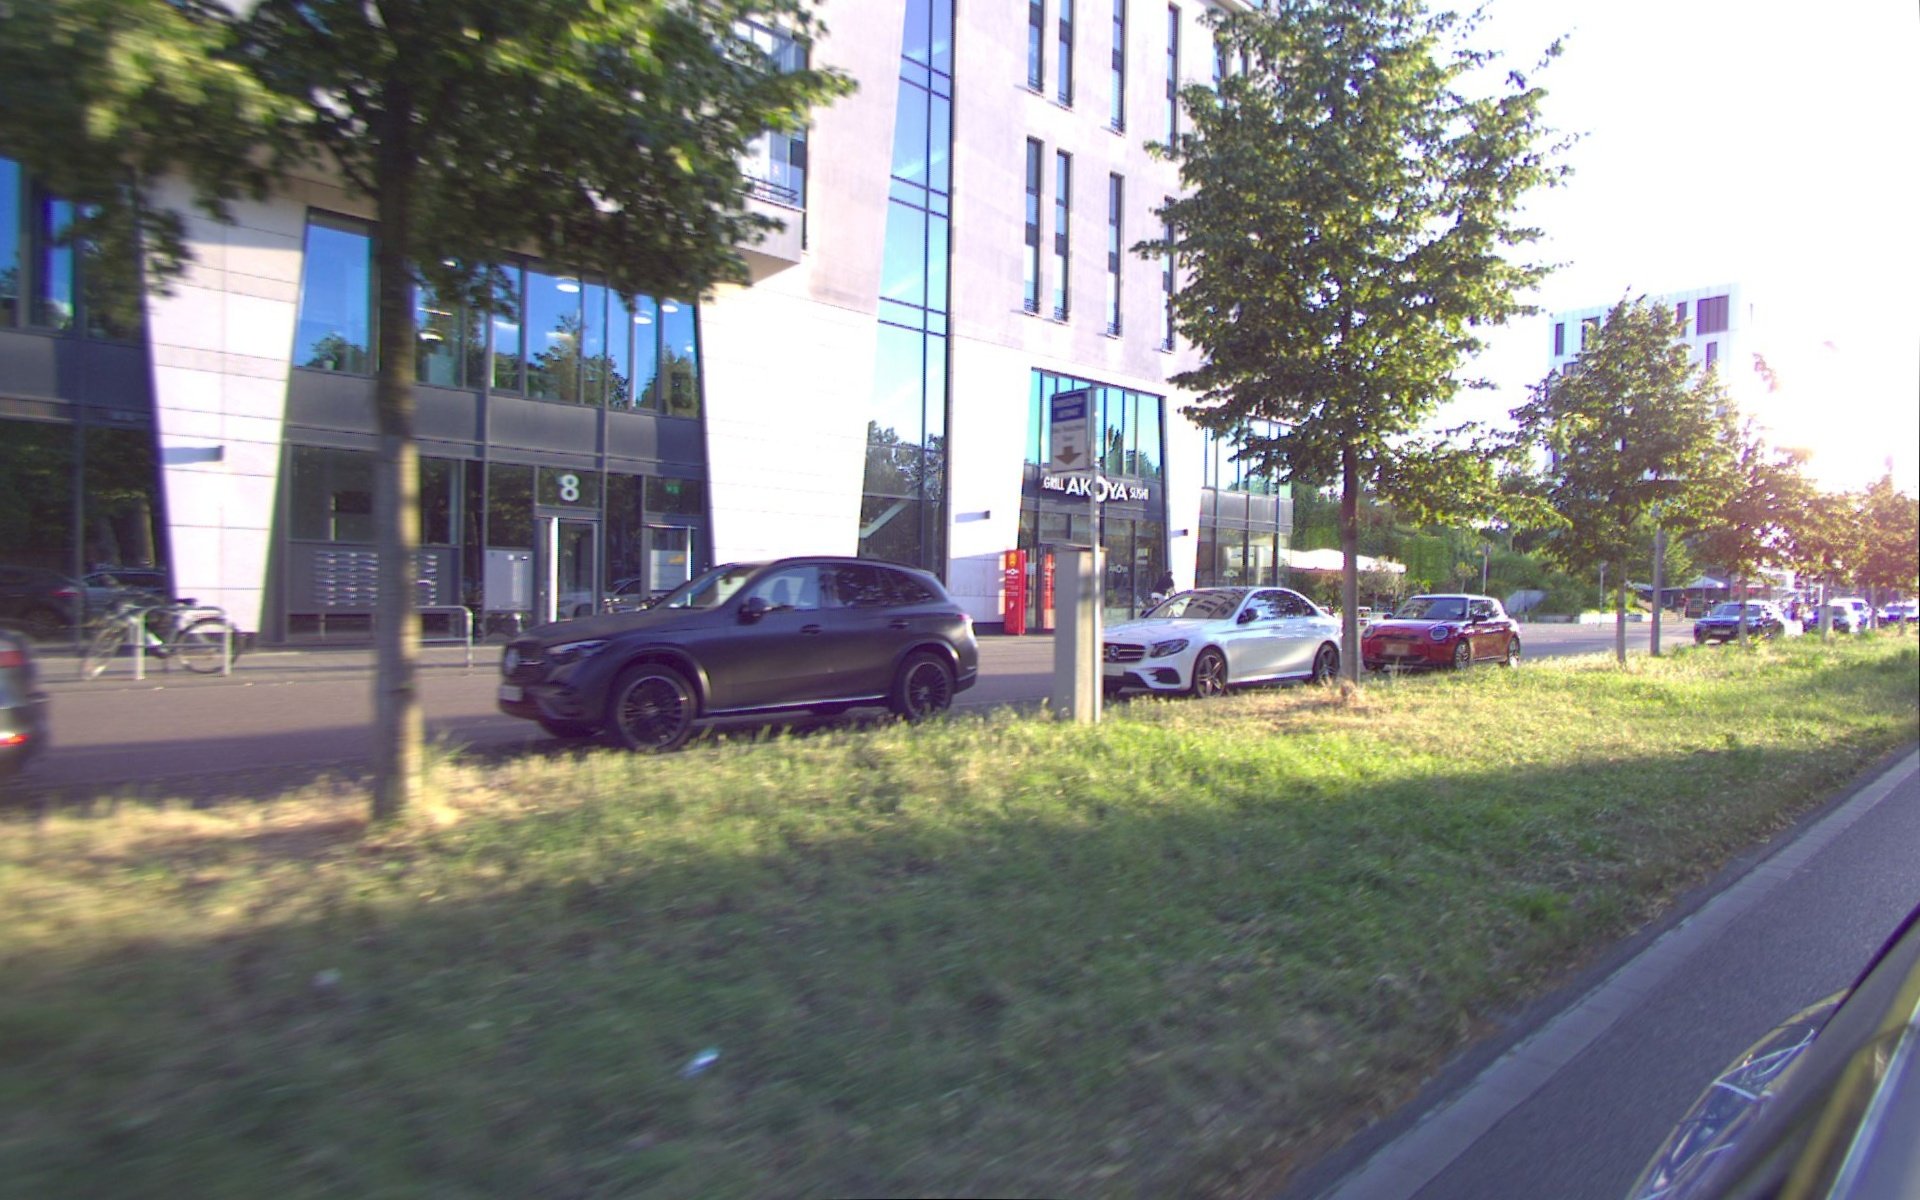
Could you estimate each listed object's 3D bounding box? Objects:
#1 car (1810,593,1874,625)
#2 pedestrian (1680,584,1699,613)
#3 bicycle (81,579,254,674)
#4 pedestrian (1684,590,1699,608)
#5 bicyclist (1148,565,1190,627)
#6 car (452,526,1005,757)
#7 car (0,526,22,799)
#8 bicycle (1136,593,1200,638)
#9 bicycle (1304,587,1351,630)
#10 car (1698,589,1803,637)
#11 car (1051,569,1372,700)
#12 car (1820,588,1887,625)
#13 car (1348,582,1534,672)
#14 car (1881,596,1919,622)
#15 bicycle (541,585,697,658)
[{"bbox_3d":[40.015,0.390,45.884,3.931,1.416,1.752,0,0,-42],"label":"car"},{"bbox_3d":[42.940,-0.097,59.561,1.060,1.675,0.696,1,0,-42],"label":"pedestrian"},{"bbox_3d":[-9.540,0.288,12.218,0.533,1.073,1.587,1,1,43],"label":"bicycle"},{"bbox_3d":[54.708,-0.065,75.653,0.757,1.281,0.744,1,0,-40],"label":"pedestrian"},{"bbox_3d":[5.471,-0.117,26.510,1.001,1.588,0.546,1,0,-38],"label":"bicyclist"},{"bbox_3d":[-1.952,0.316,9.527,4.737,1.644,1.956,0,-1,-42],"label":"car"},{"bbox_3d":[-7.297,0.348,4.736,4.158,1.520,1.727,0,0,-41],"label":"car"},{"bbox_3d":[5.451,0.391,26.495,1.877,1.132,0.544,0,1,-38],"label":"bicycle"},{"bbox_3d":[10.902,0.244,29.974,1.642,1.246,0.617,0,1,-43],"label":"bicycle"},{"bbox_3d":[26.743,0.419,34.195,4.288,1.520,1.813,0,1,-38],"label":"car"},{"bbox_3d":[3.659,0.390,14.136,4.923,1.520,1.924,0,1,-42],"label":"car"},{"bbox_3d":[43.639,0.312,49.404,4.595,1.653,1.810,0,-4,-42],"label":"car"},{"bbox_3d":[9.149,0.457,19.148,3.891,1.520,1.811,0,1,-42],"label":"car"},{"bbox_3d":[59.884,0.571,63.943,5.317,1.520,1.922,0,1,-42],"label":"car"},{"bbox_3d":[-5.251,0.309,15.708,2.222,1.046,0.621,0,1,-42],"label":"bicycle"}]
